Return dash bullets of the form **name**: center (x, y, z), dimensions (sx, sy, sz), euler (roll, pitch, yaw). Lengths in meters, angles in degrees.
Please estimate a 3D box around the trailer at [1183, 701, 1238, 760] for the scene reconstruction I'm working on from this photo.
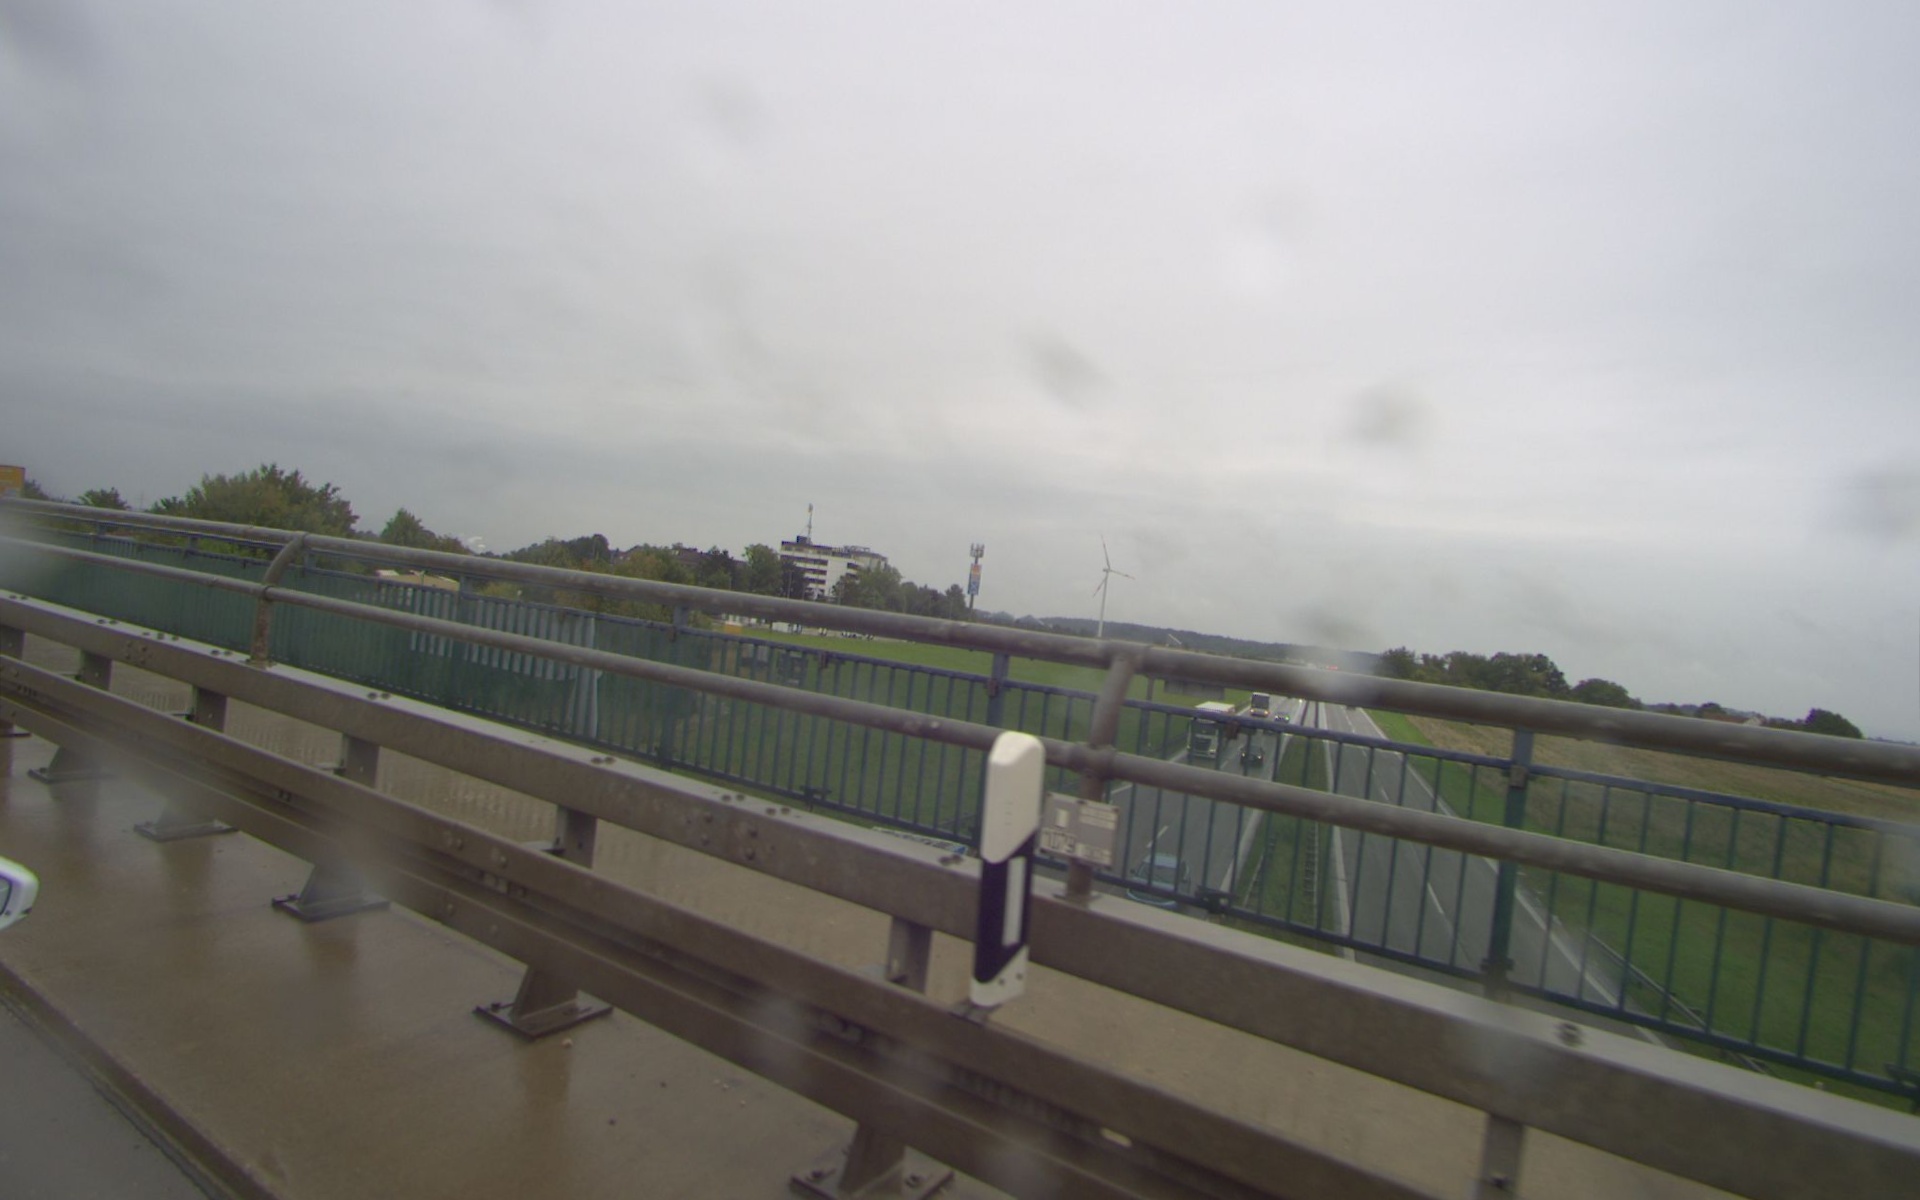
- **trailer**: center (22.658, 11.491, 90.334), dimensions (2.828, 4.015, 14.027), euler (8, -1, 20)

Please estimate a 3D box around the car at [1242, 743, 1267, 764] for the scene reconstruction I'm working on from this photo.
- **car**: center (24.976, 12.980, 85.217), dimensions (1.646, 1.366, 4.004), euler (8, -2, 20)

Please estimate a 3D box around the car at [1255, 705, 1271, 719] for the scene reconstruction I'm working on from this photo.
- **car**: center (45.266, 16.718, 150.224), dimensions (1.963, 1.783, 4.006), euler (8, -3, 19)

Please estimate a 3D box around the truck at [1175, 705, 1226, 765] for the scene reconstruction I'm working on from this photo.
- **truck**: center (19.802, 10.966, 82.451), dimensions (2.828, 4.015, 6.822), euler (8, 0, 20)

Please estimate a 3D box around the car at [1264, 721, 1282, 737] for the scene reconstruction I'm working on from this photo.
- **car**: center (36.186, 14.918, 116.262), dimensions (1.646, 1.367, 4.002), euler (8, -1, 19)
